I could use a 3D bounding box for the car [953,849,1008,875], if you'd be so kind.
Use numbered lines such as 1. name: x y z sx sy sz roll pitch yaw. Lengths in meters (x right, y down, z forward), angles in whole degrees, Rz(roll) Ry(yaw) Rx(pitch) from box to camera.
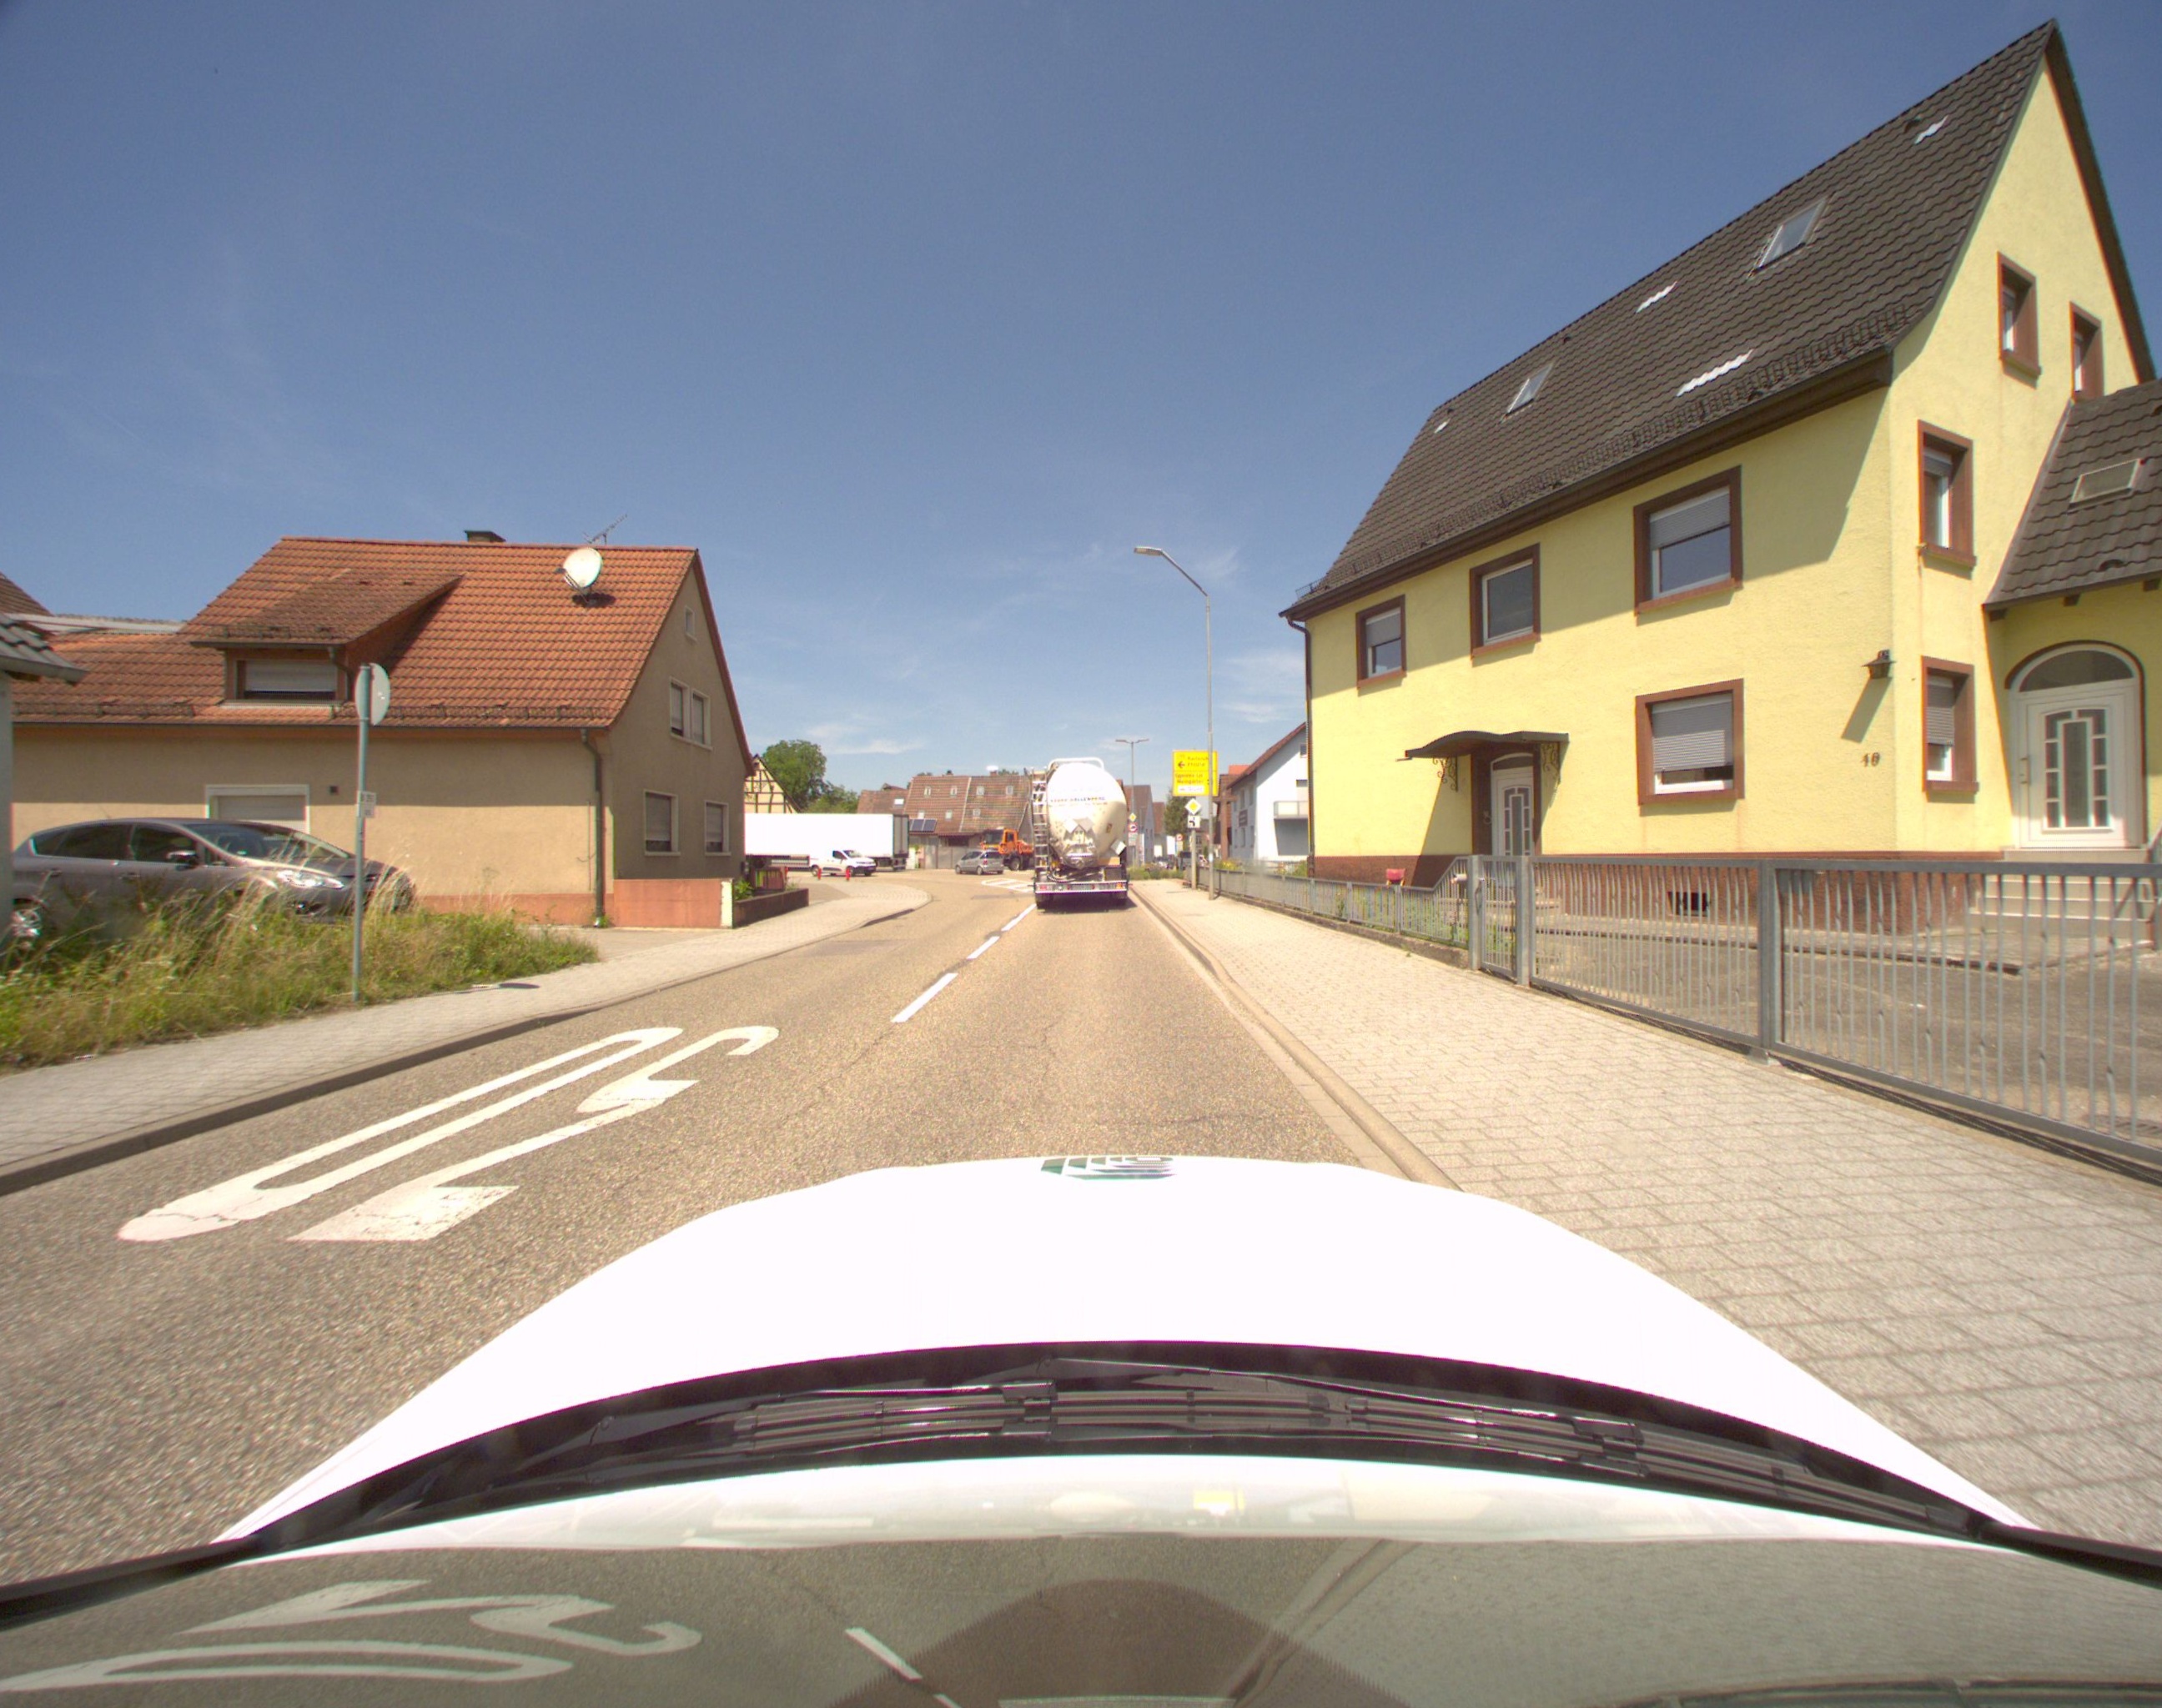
1. car: -6.301 0.506 50.929 1.797 1.585 3.564 0 -1 -39

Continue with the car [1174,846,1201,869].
1. car: 9.454 0.299 71.994 1.980 1.912 4.339 0 -2 13

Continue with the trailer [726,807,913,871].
1. trailer: -18.308 -0.940 57.193 12.375 4.277 3.151 0 -1 10

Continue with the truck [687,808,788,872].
1. truck: -24.459 -0.957 58.144 5.879 4.401 3.123 0 -1 10

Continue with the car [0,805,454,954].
1. car: -10.751 0.303 10.351 4.108 1.638 1.866 -1 0 2

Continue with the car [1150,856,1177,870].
1. car: 9.789 1.080 96.229 1.976 1.675 4.335 0 -1 22

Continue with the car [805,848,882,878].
1. car: -14.990 0.544 51.374 4.468 1.785 1.890 0 1 22

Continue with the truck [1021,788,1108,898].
1. truck: -0.780 -0.372 32.580 2.984 3.965 5.567 1 -1 -6

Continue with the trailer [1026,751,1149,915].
1. trailer: -0.197 -0.463 25.578 2.946 3.948 11.602 1 0 -4

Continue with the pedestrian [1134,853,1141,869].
1. pedestrian: 7.469 0.917 107.529 0.762 2.014 0.982 0 0 21

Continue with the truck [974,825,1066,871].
1. truck: -4.446 -0.376 61.229 2.635 3.181 7.509 -1 -2 36

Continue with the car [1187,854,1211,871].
1. car: 11.428 0.812 78.968 1.804 1.634 4.224 -1 0 15
